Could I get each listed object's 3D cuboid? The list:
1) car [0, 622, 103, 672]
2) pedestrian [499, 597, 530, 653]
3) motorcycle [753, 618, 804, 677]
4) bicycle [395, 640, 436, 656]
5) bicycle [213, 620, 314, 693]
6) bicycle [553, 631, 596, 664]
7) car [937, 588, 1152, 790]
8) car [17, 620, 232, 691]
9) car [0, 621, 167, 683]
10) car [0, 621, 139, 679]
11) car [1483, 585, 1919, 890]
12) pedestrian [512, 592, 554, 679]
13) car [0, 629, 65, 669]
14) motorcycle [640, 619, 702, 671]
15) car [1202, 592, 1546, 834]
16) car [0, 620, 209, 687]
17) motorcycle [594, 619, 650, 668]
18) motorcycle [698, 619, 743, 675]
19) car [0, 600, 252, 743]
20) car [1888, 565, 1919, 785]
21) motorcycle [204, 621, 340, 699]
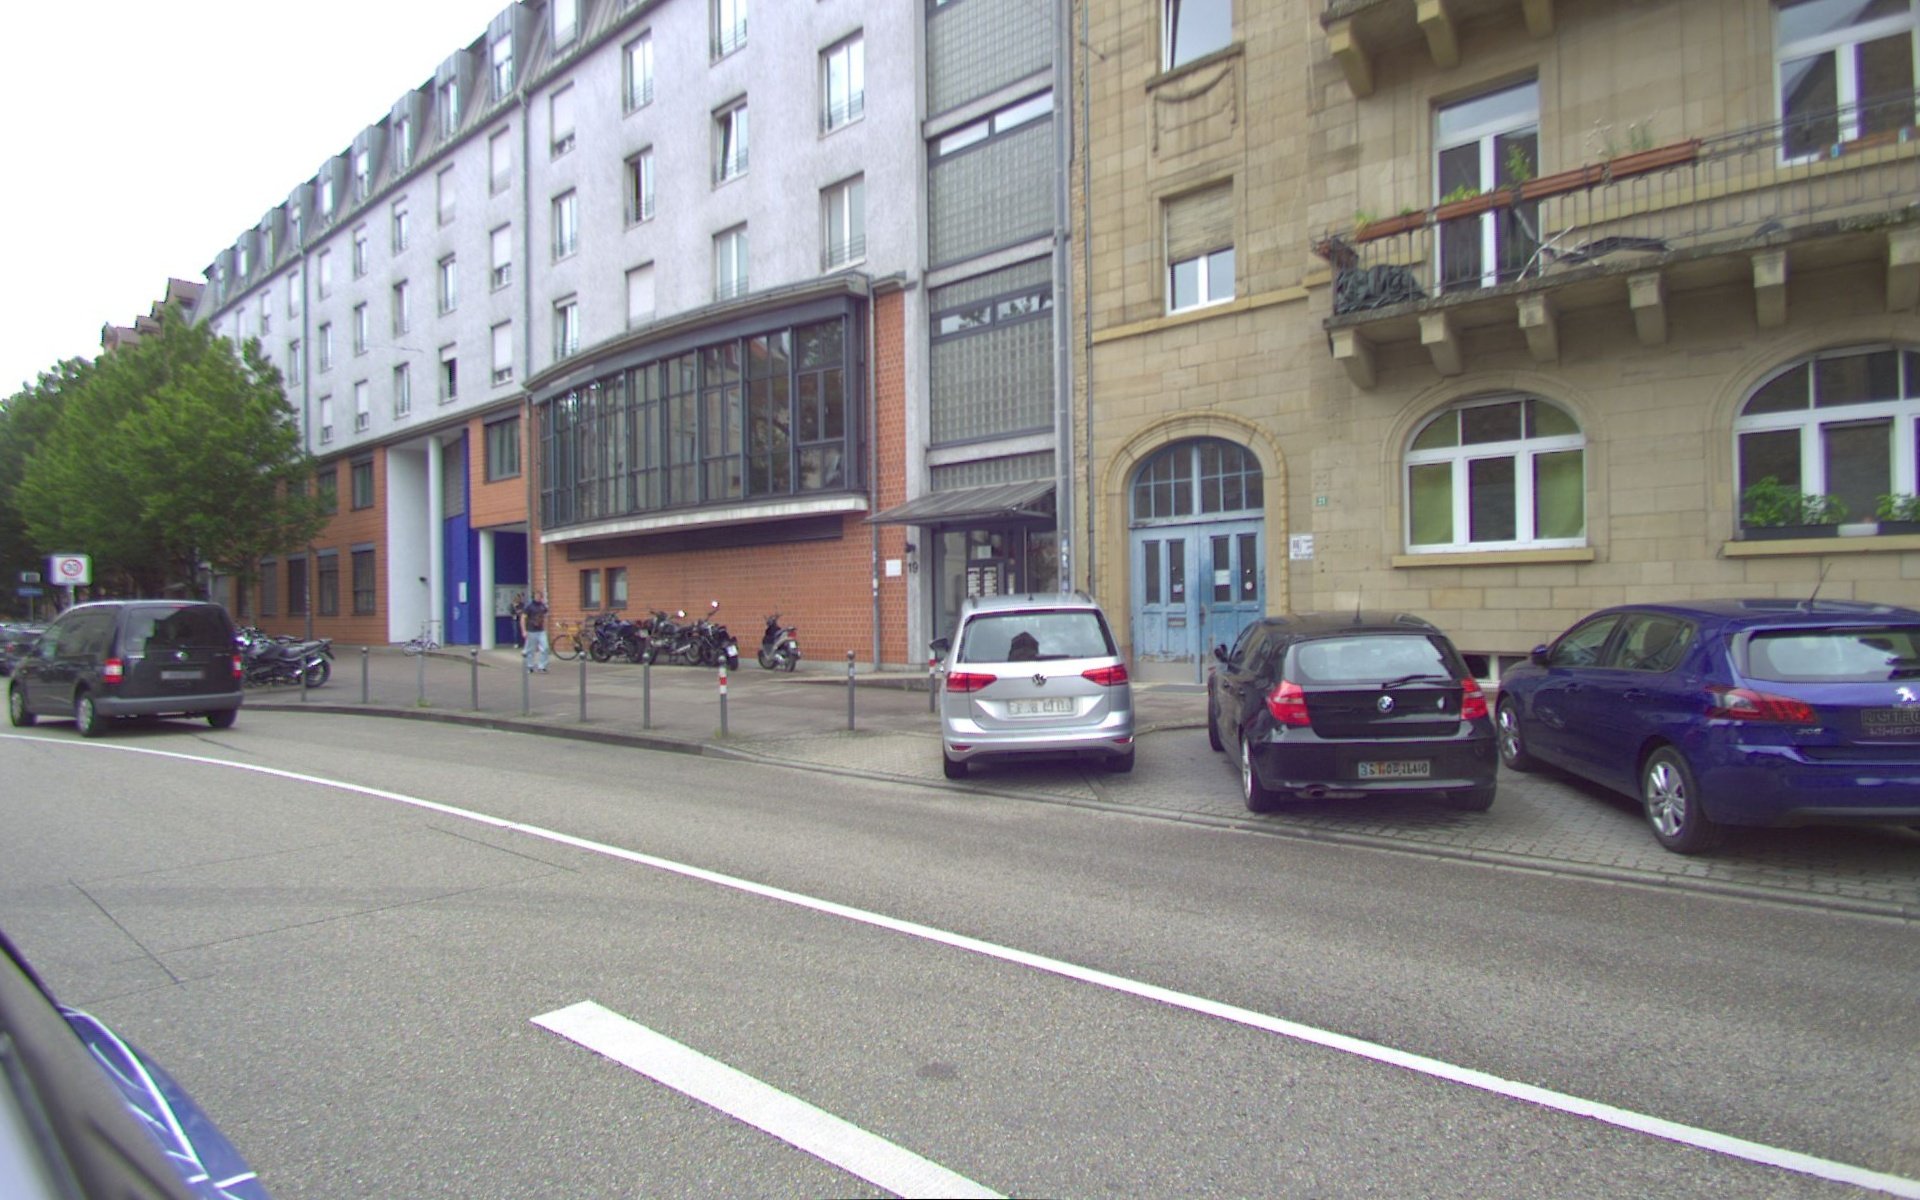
[{"bbox_3d":[-32.644,1.620,35.140,1.983,1.641,3.977,-1,-1,18],"label":"car"},{"bbox_3d":[-13.534,0.747,30.736,0.622,1.662,0.677,-1,0,42],"label":"pedestrian"},{"bbox_3d":[-3.588,0.908,19.932,0.438,1.106,1.768,0,-1,-29],"label":"motorcycle"},{"bbox_3d":[-16.659,1.473,30.967,0.527,0.440,0.997,1,0,42],"label":"bicycle"},{"bbox_3d":[-14.244,1.132,20.731,0.416,1.363,1.610,-2,1,39],"label":"bicycle"},{"bbox_3d":[-9.810,1.197,25.702,1.581,0.793,0.332,-2,-1,42],"label":"bicycle"},{"bbox_3d":[0.733,0.711,10.353,1.710,1.565,3.999,-2,1,1],"label":"car"},{"bbox_3d":[-21.287,1.359,25.989,1.758,1.641,3.977,-1,-1,18],"label":"car"},{"bbox_3d":[-25.941,1.451,29.580,1.983,1.641,3.977,-1,-1,18],"label":"car"},{"bbox_3d":[-28.162,1.491,31.239,1.983,1.641,3.977,-1,-1,18],"label":"car"},{"bbox_3d":[5.208,0.683,6.935,1.804,1.456,3.737,-2,1,10],"label":"car"},{"bbox_3d":[-9.280,0.759,21.974,0.641,1.837,0.613,-2,-1,41],"label":"pedestrian"},{"bbox_3d":[-37.714,1.909,39.406,1.723,1.508,3.977,-1,-1,18],"label":"car"},{"bbox_3d":[-6.459,0.997,22.564,1.762,1.106,0.440,-2,-1,42],"label":"motorcycle"},{"bbox_3d":[3.114,0.734,8.494,1.713,1.449,3.990,-2,1,9],"label":"car"},{"bbox_3d":[-23.297,1.405,27.729,1.983,1.641,3.977,-1,-1,18],"label":"car"},{"bbox_3d":[-7.984,1.016,23.868,1.762,1.106,0.440,-2,-1,42],"label":"motorcycle"},{"bbox_3d":[-4.942,0.945,20.830,0.438,1.106,1.768,0,-1,-29],"label":"motorcycle"},{"bbox_3d":[-12.213,0.961,14.704,4.115,1.817,1.681,-1,-2,32],"label":"car"},{"bbox_3d":[7.576,0.545,5.376,1.681,1.565,3.997,-2,1,3],"label":"car"},{"bbox_3d":[-13.456,1.134,19.854,0.599,1.363,2.096,-2,1,41],"label":"motorcycle"}]
